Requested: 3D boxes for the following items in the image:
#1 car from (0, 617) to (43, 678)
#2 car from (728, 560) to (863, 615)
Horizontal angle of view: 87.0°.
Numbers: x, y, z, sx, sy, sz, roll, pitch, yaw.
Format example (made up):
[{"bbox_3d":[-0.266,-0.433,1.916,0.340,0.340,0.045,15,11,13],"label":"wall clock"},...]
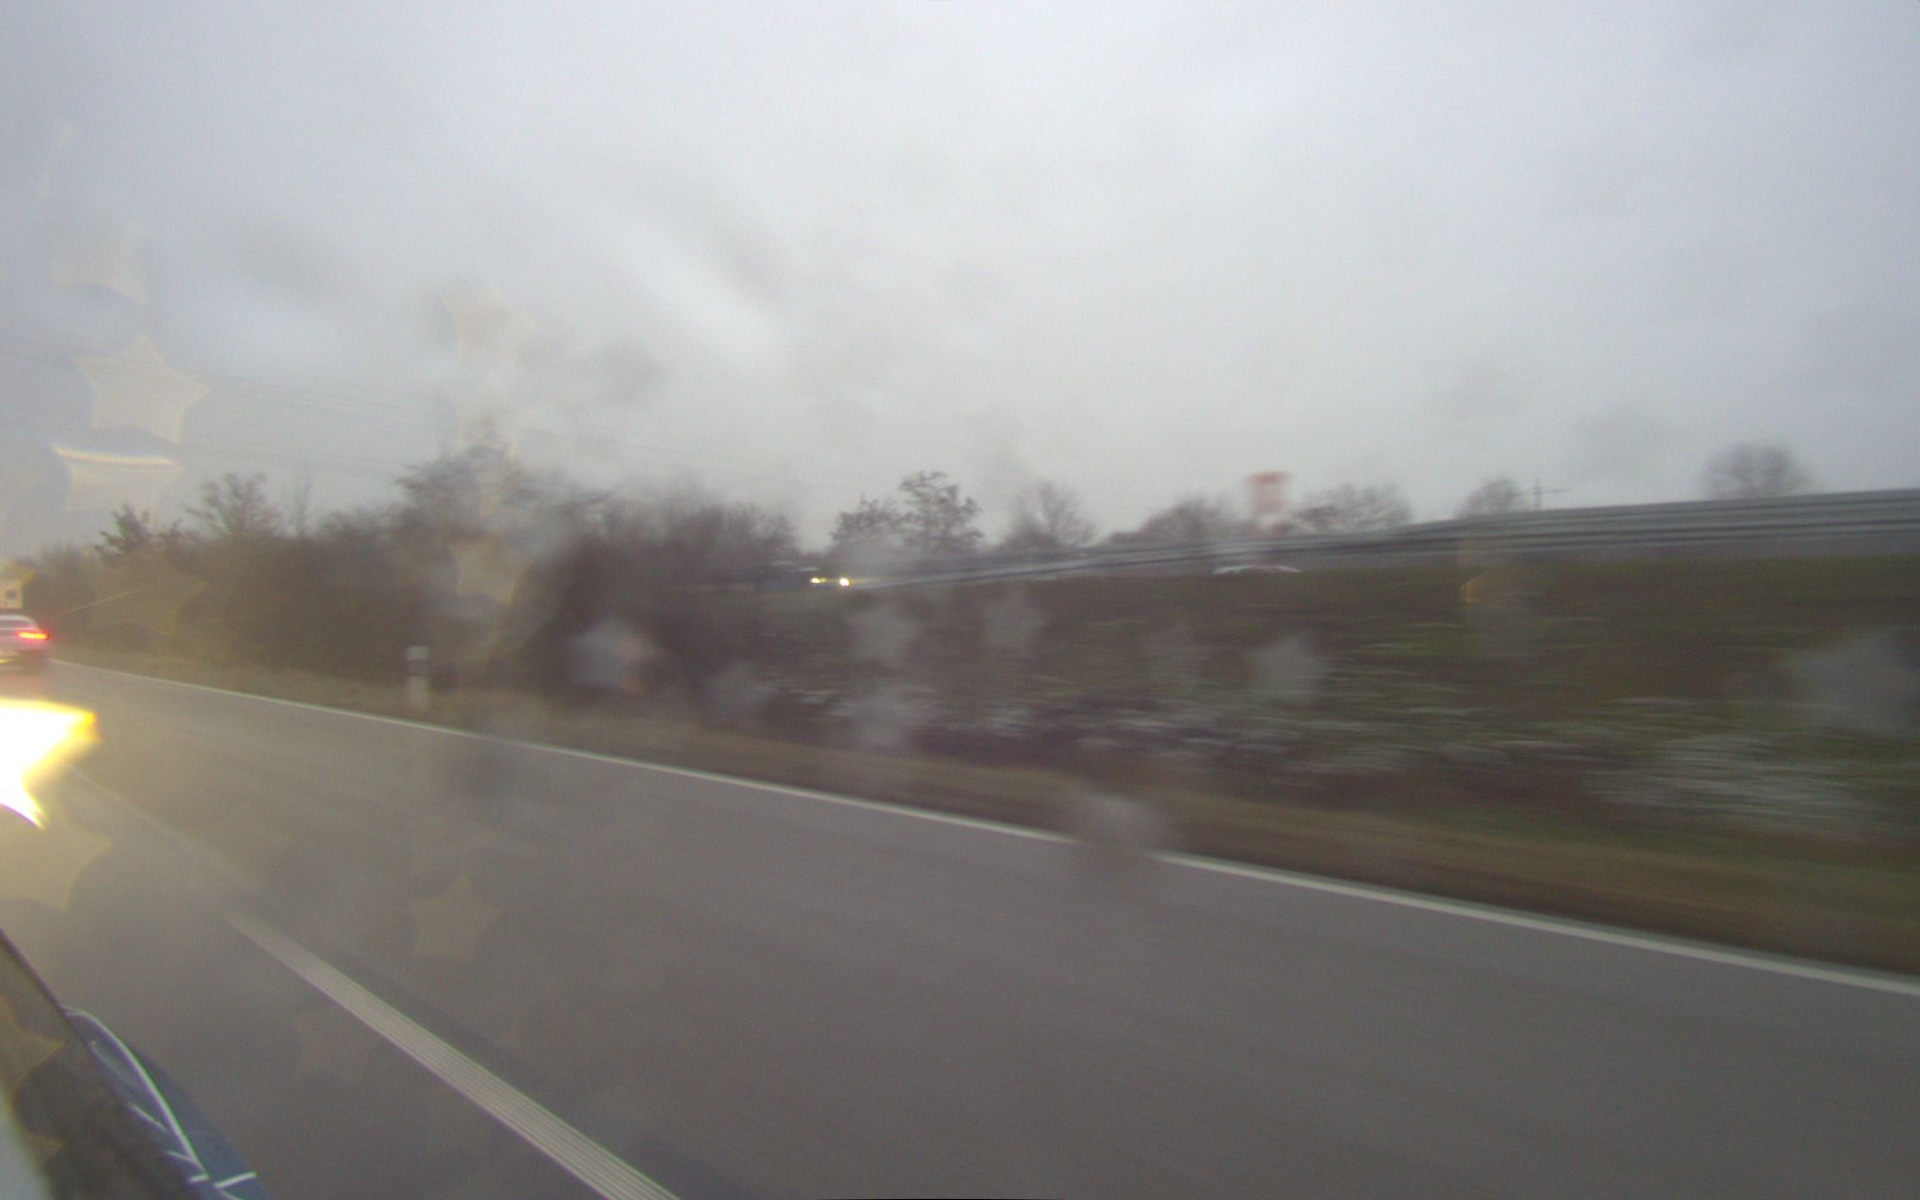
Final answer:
[{"bbox_3d":[-27.016,1.303,28.167,4.485,1.603,1.767,-1,-1,42],"label":"car"},{"bbox_3d":[-6.711,-0.457,40.811,5.599,2.029,2.289,-1,0,40],"label":"car"}]
